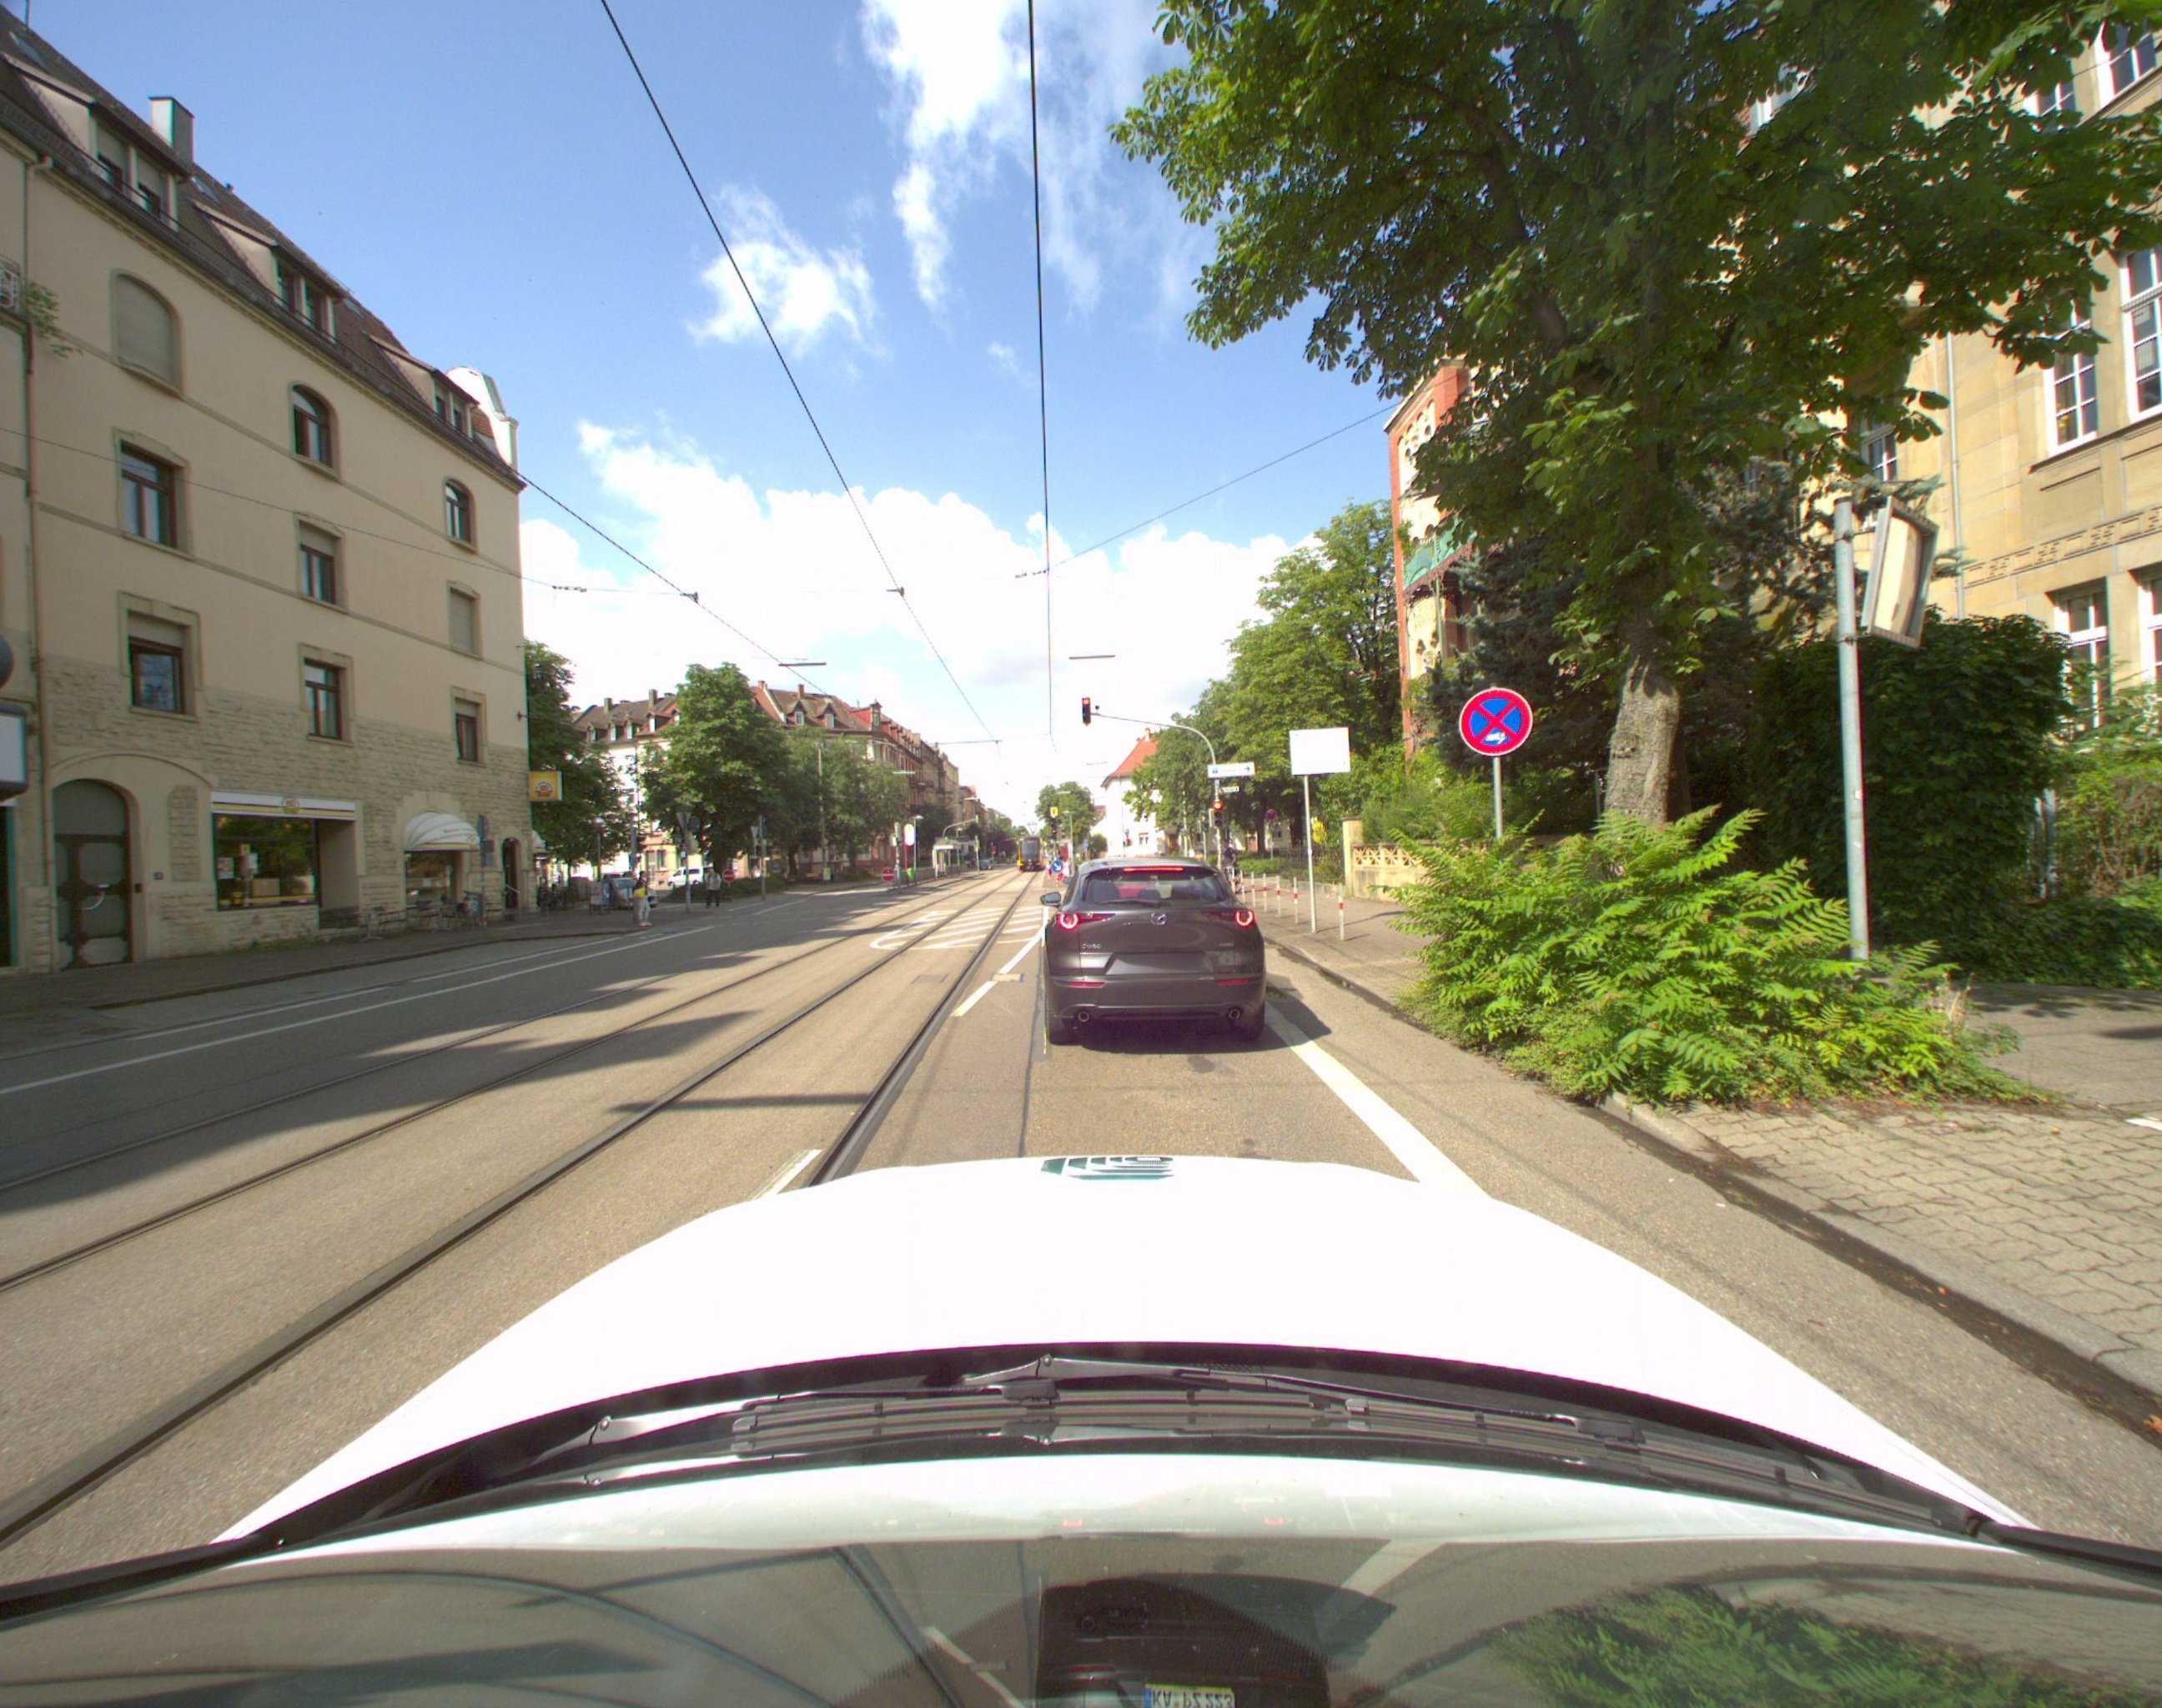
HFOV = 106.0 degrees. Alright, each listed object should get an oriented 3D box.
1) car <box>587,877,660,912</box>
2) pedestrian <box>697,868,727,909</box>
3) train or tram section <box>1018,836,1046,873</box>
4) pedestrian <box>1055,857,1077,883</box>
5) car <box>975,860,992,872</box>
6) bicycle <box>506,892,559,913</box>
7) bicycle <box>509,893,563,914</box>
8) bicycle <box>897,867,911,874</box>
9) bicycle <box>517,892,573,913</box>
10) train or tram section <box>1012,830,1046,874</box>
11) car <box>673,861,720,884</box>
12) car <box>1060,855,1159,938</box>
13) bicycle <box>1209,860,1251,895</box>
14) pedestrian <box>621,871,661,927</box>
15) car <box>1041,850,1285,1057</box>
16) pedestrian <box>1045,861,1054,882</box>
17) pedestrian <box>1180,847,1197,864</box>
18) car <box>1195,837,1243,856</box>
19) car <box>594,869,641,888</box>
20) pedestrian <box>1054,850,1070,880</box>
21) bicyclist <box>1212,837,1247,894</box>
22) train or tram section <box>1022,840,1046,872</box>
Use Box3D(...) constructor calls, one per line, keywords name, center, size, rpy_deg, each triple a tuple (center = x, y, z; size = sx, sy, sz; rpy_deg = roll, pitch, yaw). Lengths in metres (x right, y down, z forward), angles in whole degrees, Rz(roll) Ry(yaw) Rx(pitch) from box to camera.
Box3D(name="car", center=(-21.242, 1.868, 37.737), size=(3.823, 1.420, 1.732), rpy_deg=(-3, 0, 41))
Box3D(name="pedestrian", center=(-15.703, 1.461, 34.682), size=(0.852, 1.672, 0.822), rpy_deg=(-3, 0, -1))
Box3D(name="train or tram section", center=(-5.824, 0.161, 98.455), size=(2.990, 3.983, 13.794), rpy_deg=(-3, -1, -2))
Box3D(name="pedestrian", center=(-0.770, 0.833, 42.239), size=(0.829, 1.303, 0.712), rpy_deg=(-5, 0, -23))
Box3D(name="car", center=(-12.294, 1.528, 102.990), size=(1.620, 1.387, 3.434), rpy_deg=(-4, 0, -1))
Box3D(name="bicycle", center=(-26.150, 2.285, 38.840), size=(0.505, 0.882, 2.043), rpy_deg=(-3, -2, 44))
Box3D(name="bicycle", center=(-25.348, 2.305, 37.912), size=(0.505, 0.882, 2.043), rpy_deg=(-3, -2, 44))
Box3D(name="bicycle", center=(-20.227, 1.887, 93.252), size=(0.381, 0.747, 1.722), rpy_deg=(-3, 0, 34))
Box3D(name="bicycle", center=(-24.361, 2.193, 37.020), size=(0.516, 0.882, 2.043), rpy_deg=(-3, -2, 44))
Box3D(name="train or tram section", center=(-5.267, -0.076, 84.661), size=(2.990, 3.983, 13.794), rpy_deg=(-3, -1, -2))
Box3D(name="car", center=(-37.123, 1.807, 78.591), size=(3.901, 1.988, 1.866), rpy_deg=(-2, 0, 21))
Box3D(name="car", center=(0.507, 0.774, 16.609), size=(1.769, 1.464, 3.841), rpy_deg=(-1, 0, 0))
Box3D(name="bicycle", center=(4.957, 0.766, 26.977), size=(0.385, 1.035, 1.857), rpy_deg=(-3, 0, 42))
Box3D(name="pedestrian", center=(-13.817, 1.409, 25.584), size=(0.754, 1.704, 0.873), rpy_deg=(2, 0, -3))
Box3D(name="car", center=(0.677, 0.745, 7.991), size=(1.775, 1.514, 4.002), rpy_deg=(0, 0, 2))
Box3D(name="pedestrian", center=(-1.754, 0.963, 45.069), size=(0.421, 1.108, 0.438), rpy_deg=(-5, 0, -4))
Box3D(name="pedestrian", center=(8.703, 0.085, 65.854), size=(1.191, 1.269, 0.556), rpy_deg=(-5, 0, -7))
Box3D(name="car", center=(13.270, -0.723, 78.380), size=(4.118, 1.509, 1.864), rpy_deg=(-3, 1, 40))
Box3D(name="car", center=(-46.479, 2.491, 81.678), size=(3.895, 1.663, 1.926), rpy_deg=(-3, 0, 20))
Box3D(name="pedestrian", center=(-1.068, 0.599, 44.867), size=(0.727, 1.565, 0.797), rpy_deg=(-3, 0, -7))
Box3D(name="bicyclist", center=(4.907, 0.366, 26.894), size=(0.736, 1.819, 0.814), rpy_deg=(-3, 0, -25))
Box3D(name="train or tram section", center=(-6.377, 0.416, 112.211), size=(2.990, 3.983, 13.794), rpy_deg=(-3, -1, -2))
